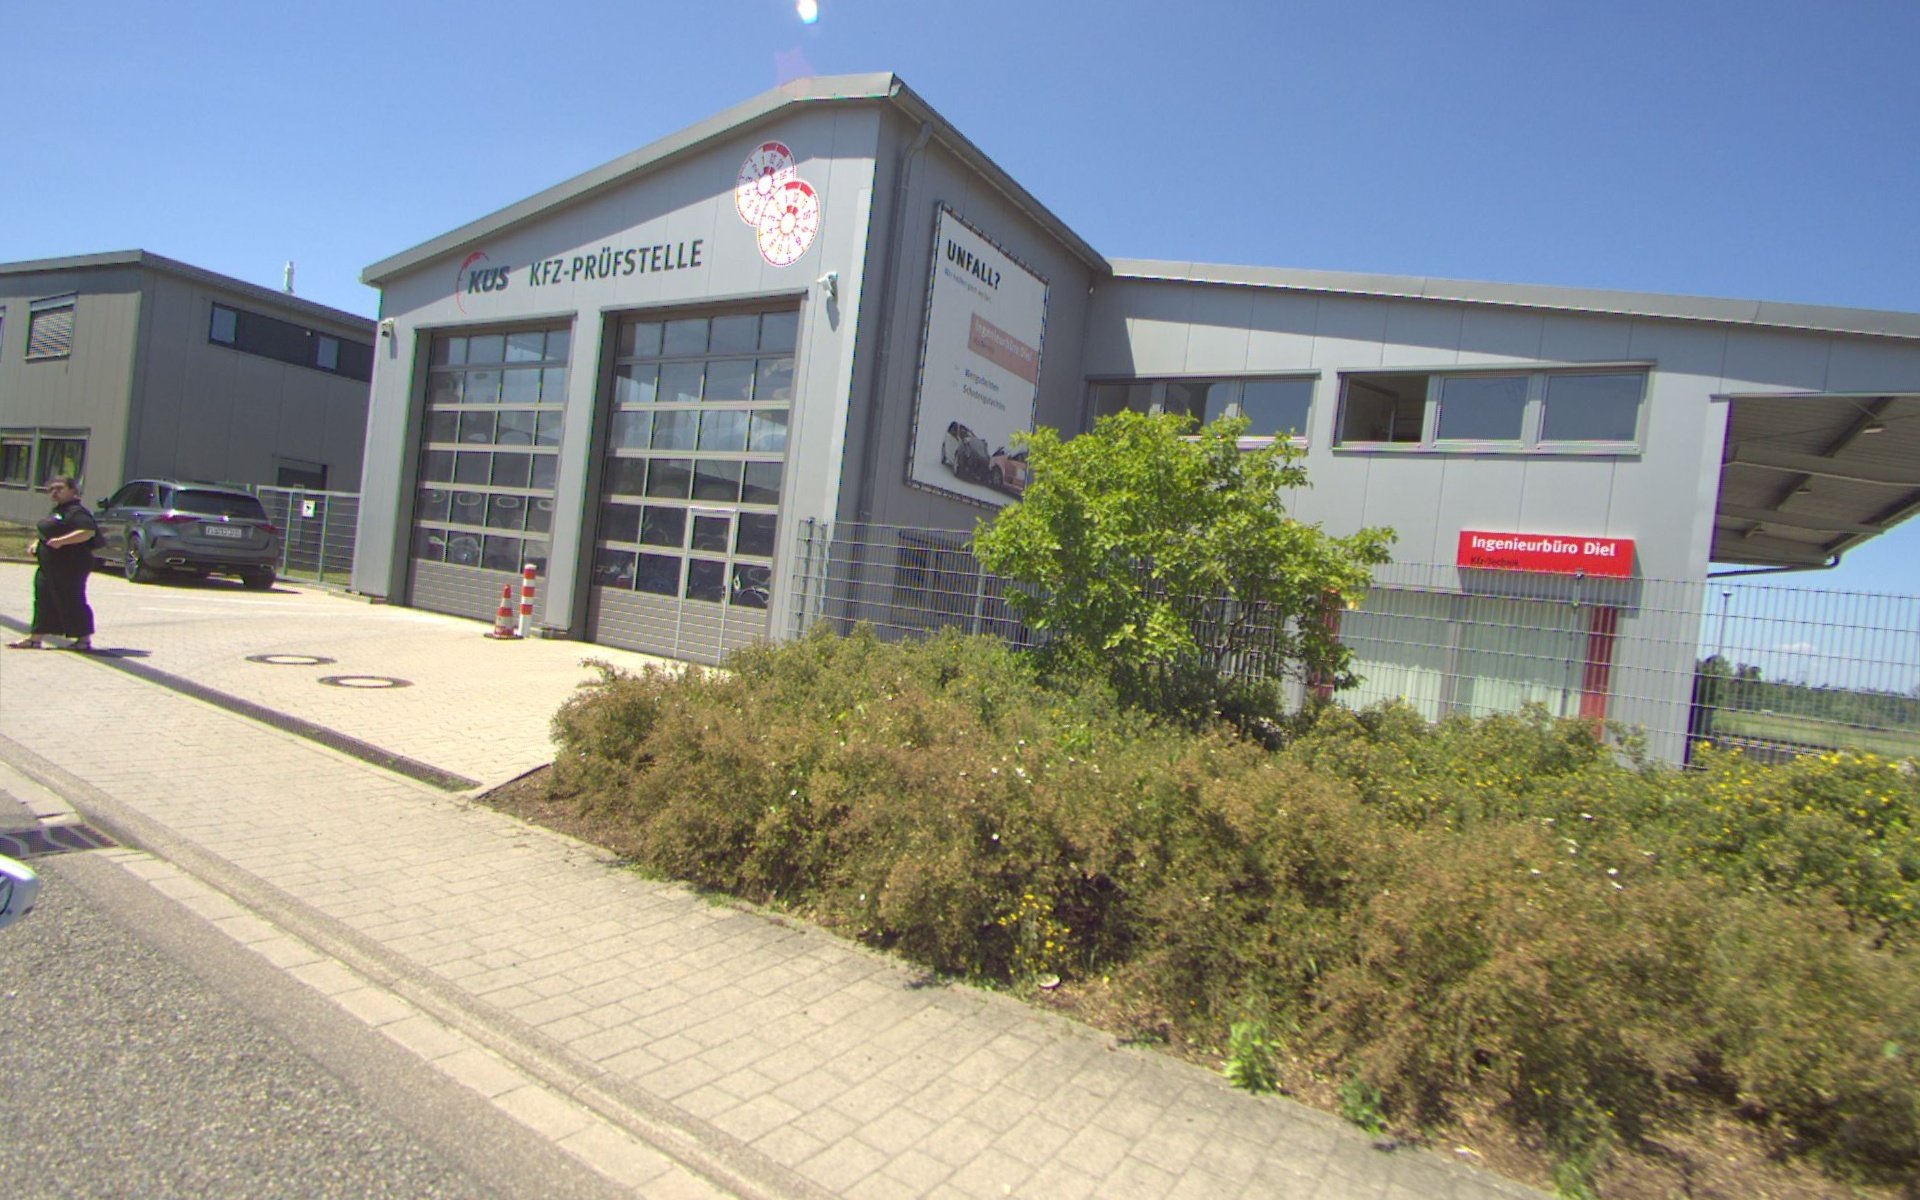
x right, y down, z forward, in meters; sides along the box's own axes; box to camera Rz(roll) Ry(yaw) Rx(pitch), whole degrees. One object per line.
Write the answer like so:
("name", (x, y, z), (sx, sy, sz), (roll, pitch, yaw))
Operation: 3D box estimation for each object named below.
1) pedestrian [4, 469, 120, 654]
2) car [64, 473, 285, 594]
("pedestrian", (-8.422, -0.360, 9.437), (0.700, 1.636, 0.500), (6, 4, 17))
("car", (-14.332, -1.241, 18.248), (4.829, 1.806, 1.785), (6, 1, 35))
